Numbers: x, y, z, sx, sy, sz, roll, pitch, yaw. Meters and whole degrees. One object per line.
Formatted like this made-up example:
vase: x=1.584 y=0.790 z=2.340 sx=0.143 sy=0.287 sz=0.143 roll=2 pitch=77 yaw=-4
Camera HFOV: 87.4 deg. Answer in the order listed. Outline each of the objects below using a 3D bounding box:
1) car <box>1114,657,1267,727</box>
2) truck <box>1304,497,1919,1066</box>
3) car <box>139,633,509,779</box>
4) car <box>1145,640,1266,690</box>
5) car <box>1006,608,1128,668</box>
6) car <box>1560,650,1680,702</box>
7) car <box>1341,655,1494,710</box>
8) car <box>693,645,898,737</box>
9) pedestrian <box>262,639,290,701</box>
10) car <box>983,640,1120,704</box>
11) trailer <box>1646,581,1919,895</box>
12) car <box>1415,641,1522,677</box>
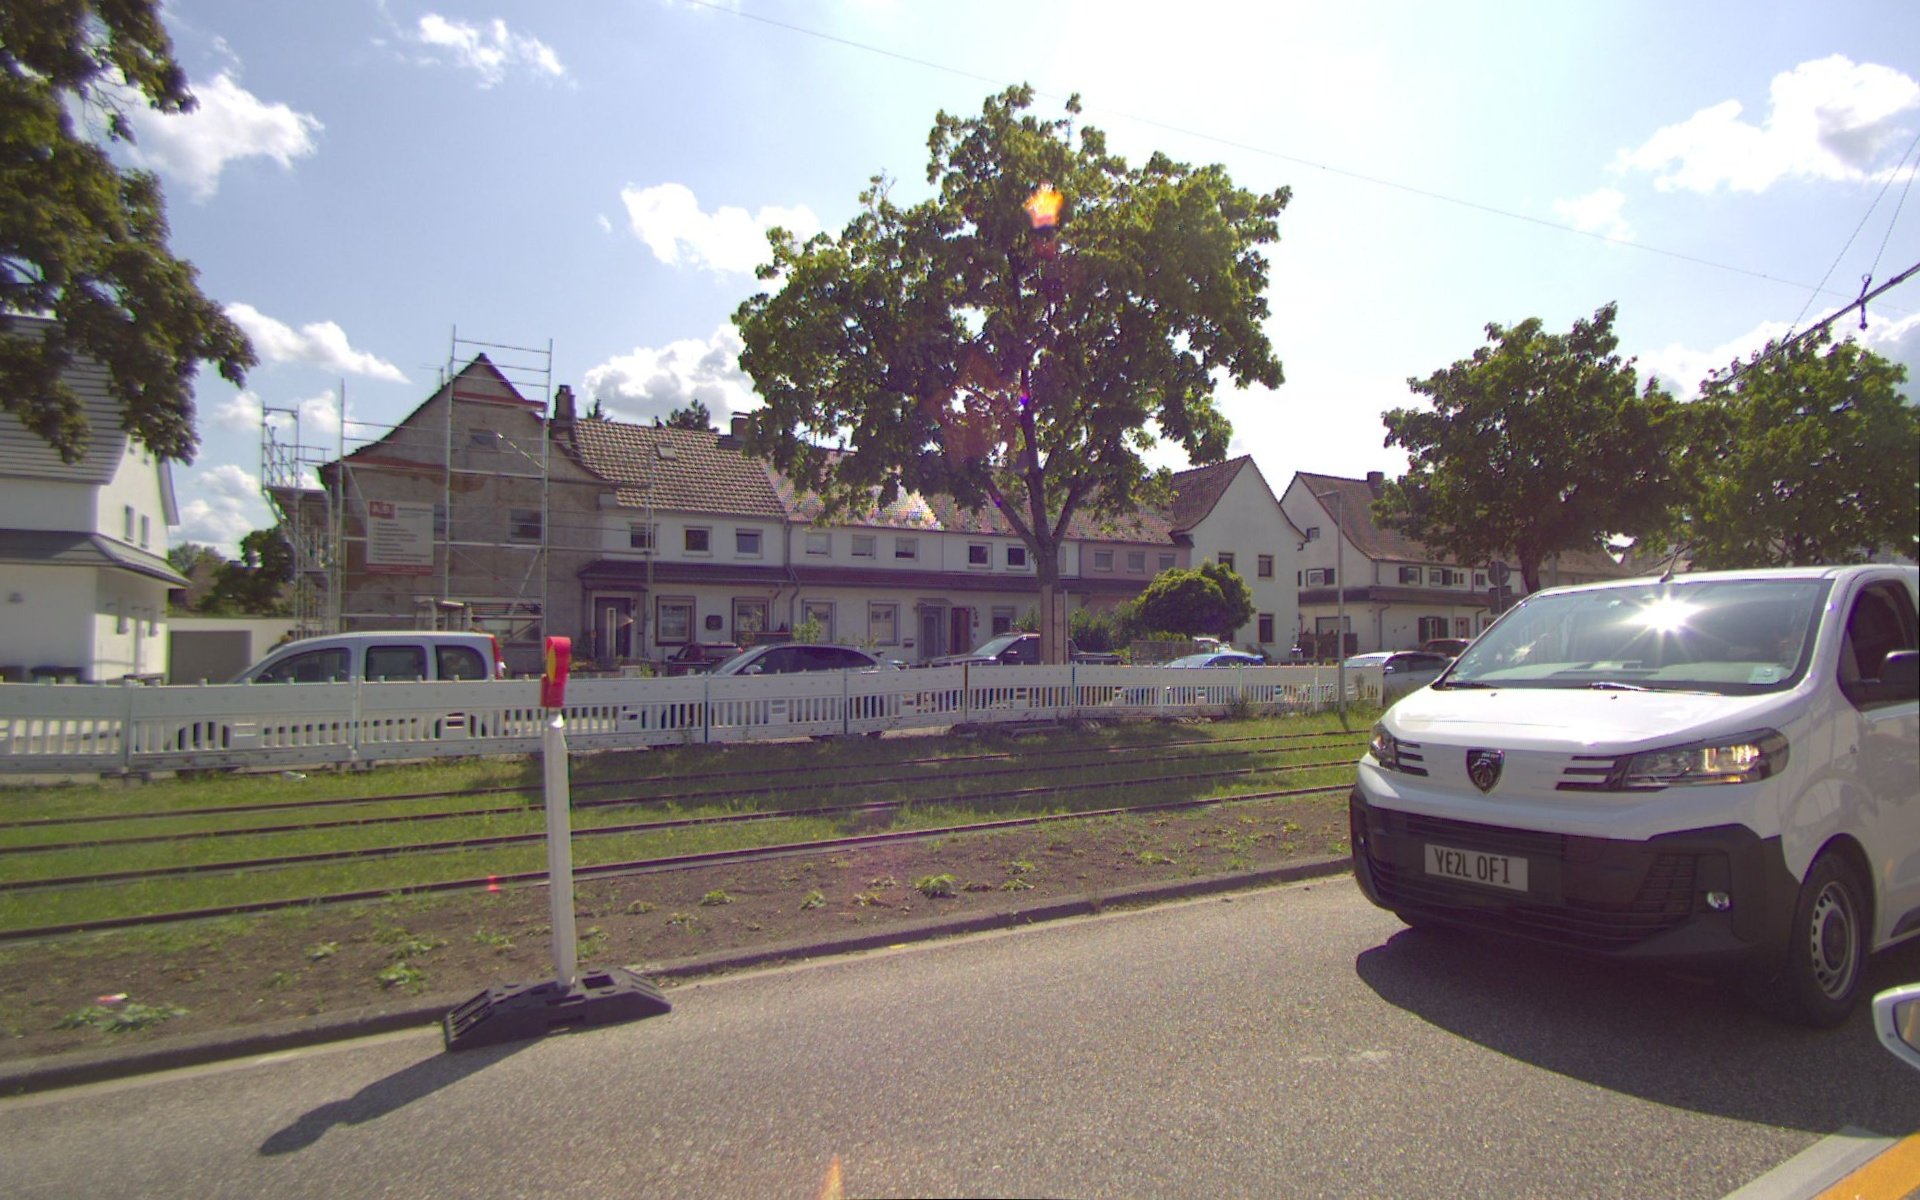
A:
car: x=4.899 y=1.894 z=21.261 sx=3.136 sy=1.342 sz=1.333 roll=1 pitch=-3 yaw=-33
truck: x=4.368 y=0.767 z=5.530 sx=5.057 sy=1.934 sz=1.812 roll=2 pitch=-5 yaw=-31
car: x=-8.139 y=1.325 z=13.225 sx=3.853 sy=1.673 sz=1.615 roll=2 pitch=-4 yaw=-30
car: x=9.477 y=2.478 z=39.002 sx=1.784 sy=1.708 sz=4.370 roll=2 pitch=-2 yaw=-39
car: x=3.863 y=1.357 z=36.065 sx=3.954 sy=2.040 sz=1.984 roll=2 pitch=-1 yaw=-31
car: x=19.470 y=2.199 z=29.598 sx=4.210 sy=1.394 sz=1.530 roll=2 pitch=-4 yaw=-36
car: x=11.059 y=1.952 z=24.229 sx=3.704 sy=1.192 sz=1.496 roll=1 pitch=-3 yaw=-30
car: x=-2.685 y=1.466 z=16.577 sx=3.078 sy=1.395 sz=1.344 roll=2 pitch=-4 yaw=-30
pedestrian: x=-15.946 y=1.625 z=23.418 sx=0.465 sy=1.394 sz=0.420 roll=2 pitch=-1 yaw=-30
car: x=2.333 y=1.778 z=25.346 sx=3.272 sy=1.515 sz=1.377 roll=1 pitch=-3 yaw=-31
trailer: x=7.831 y=0.935 z=7.723 sx=5.421 sy=1.859 sz=2.053 roll=2 pitch=-5 yaw=-30
car: x=22.670 y=2.607 z=44.922 sx=1.706 sy=1.529 sz=3.967 roll=1 pitch=-3 yaw=-30
